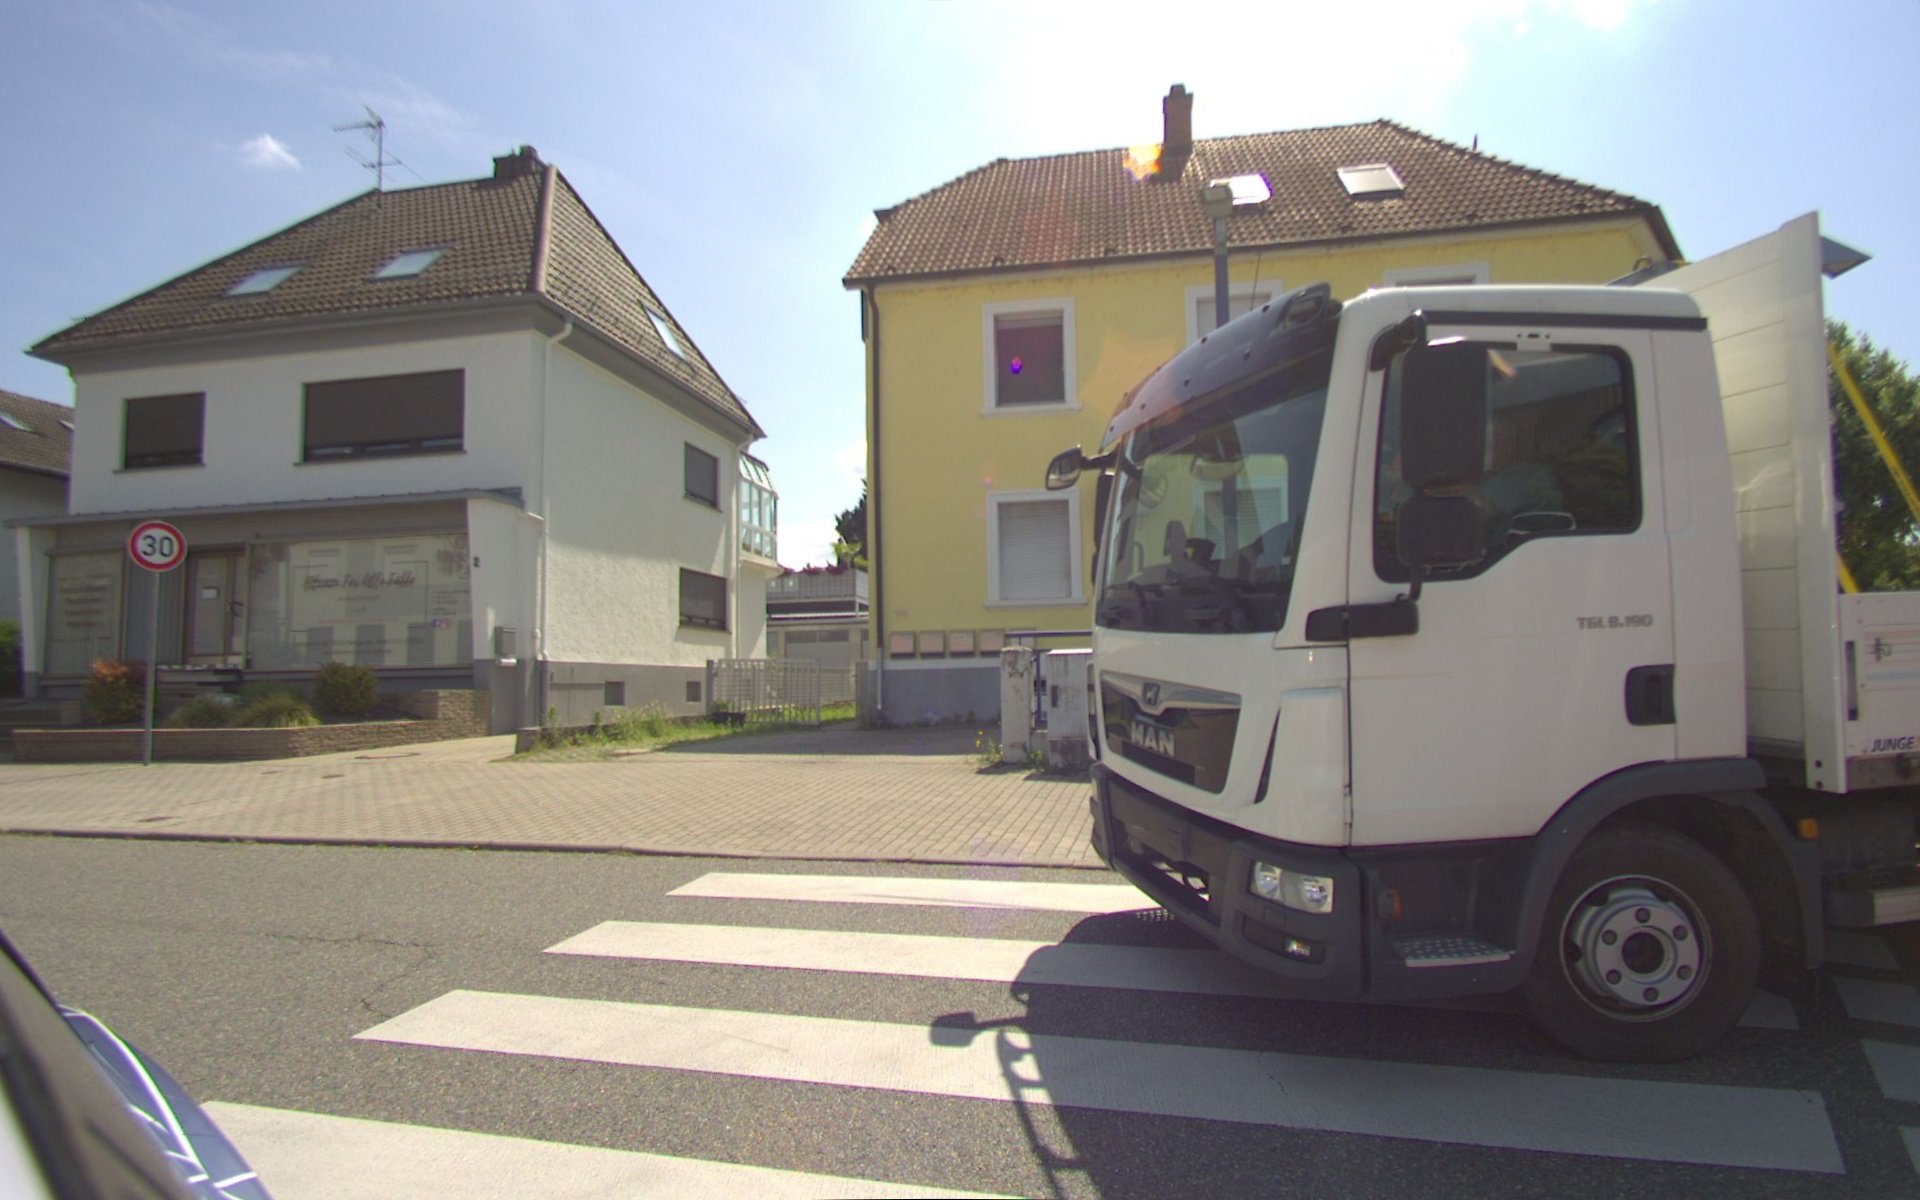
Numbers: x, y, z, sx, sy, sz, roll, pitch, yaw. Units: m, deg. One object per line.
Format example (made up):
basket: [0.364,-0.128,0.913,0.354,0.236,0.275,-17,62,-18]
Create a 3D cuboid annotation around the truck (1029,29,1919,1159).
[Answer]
truck: [4.546,-0.065,4.658,7.939,2.899,2.624,-1,-2,-11]
